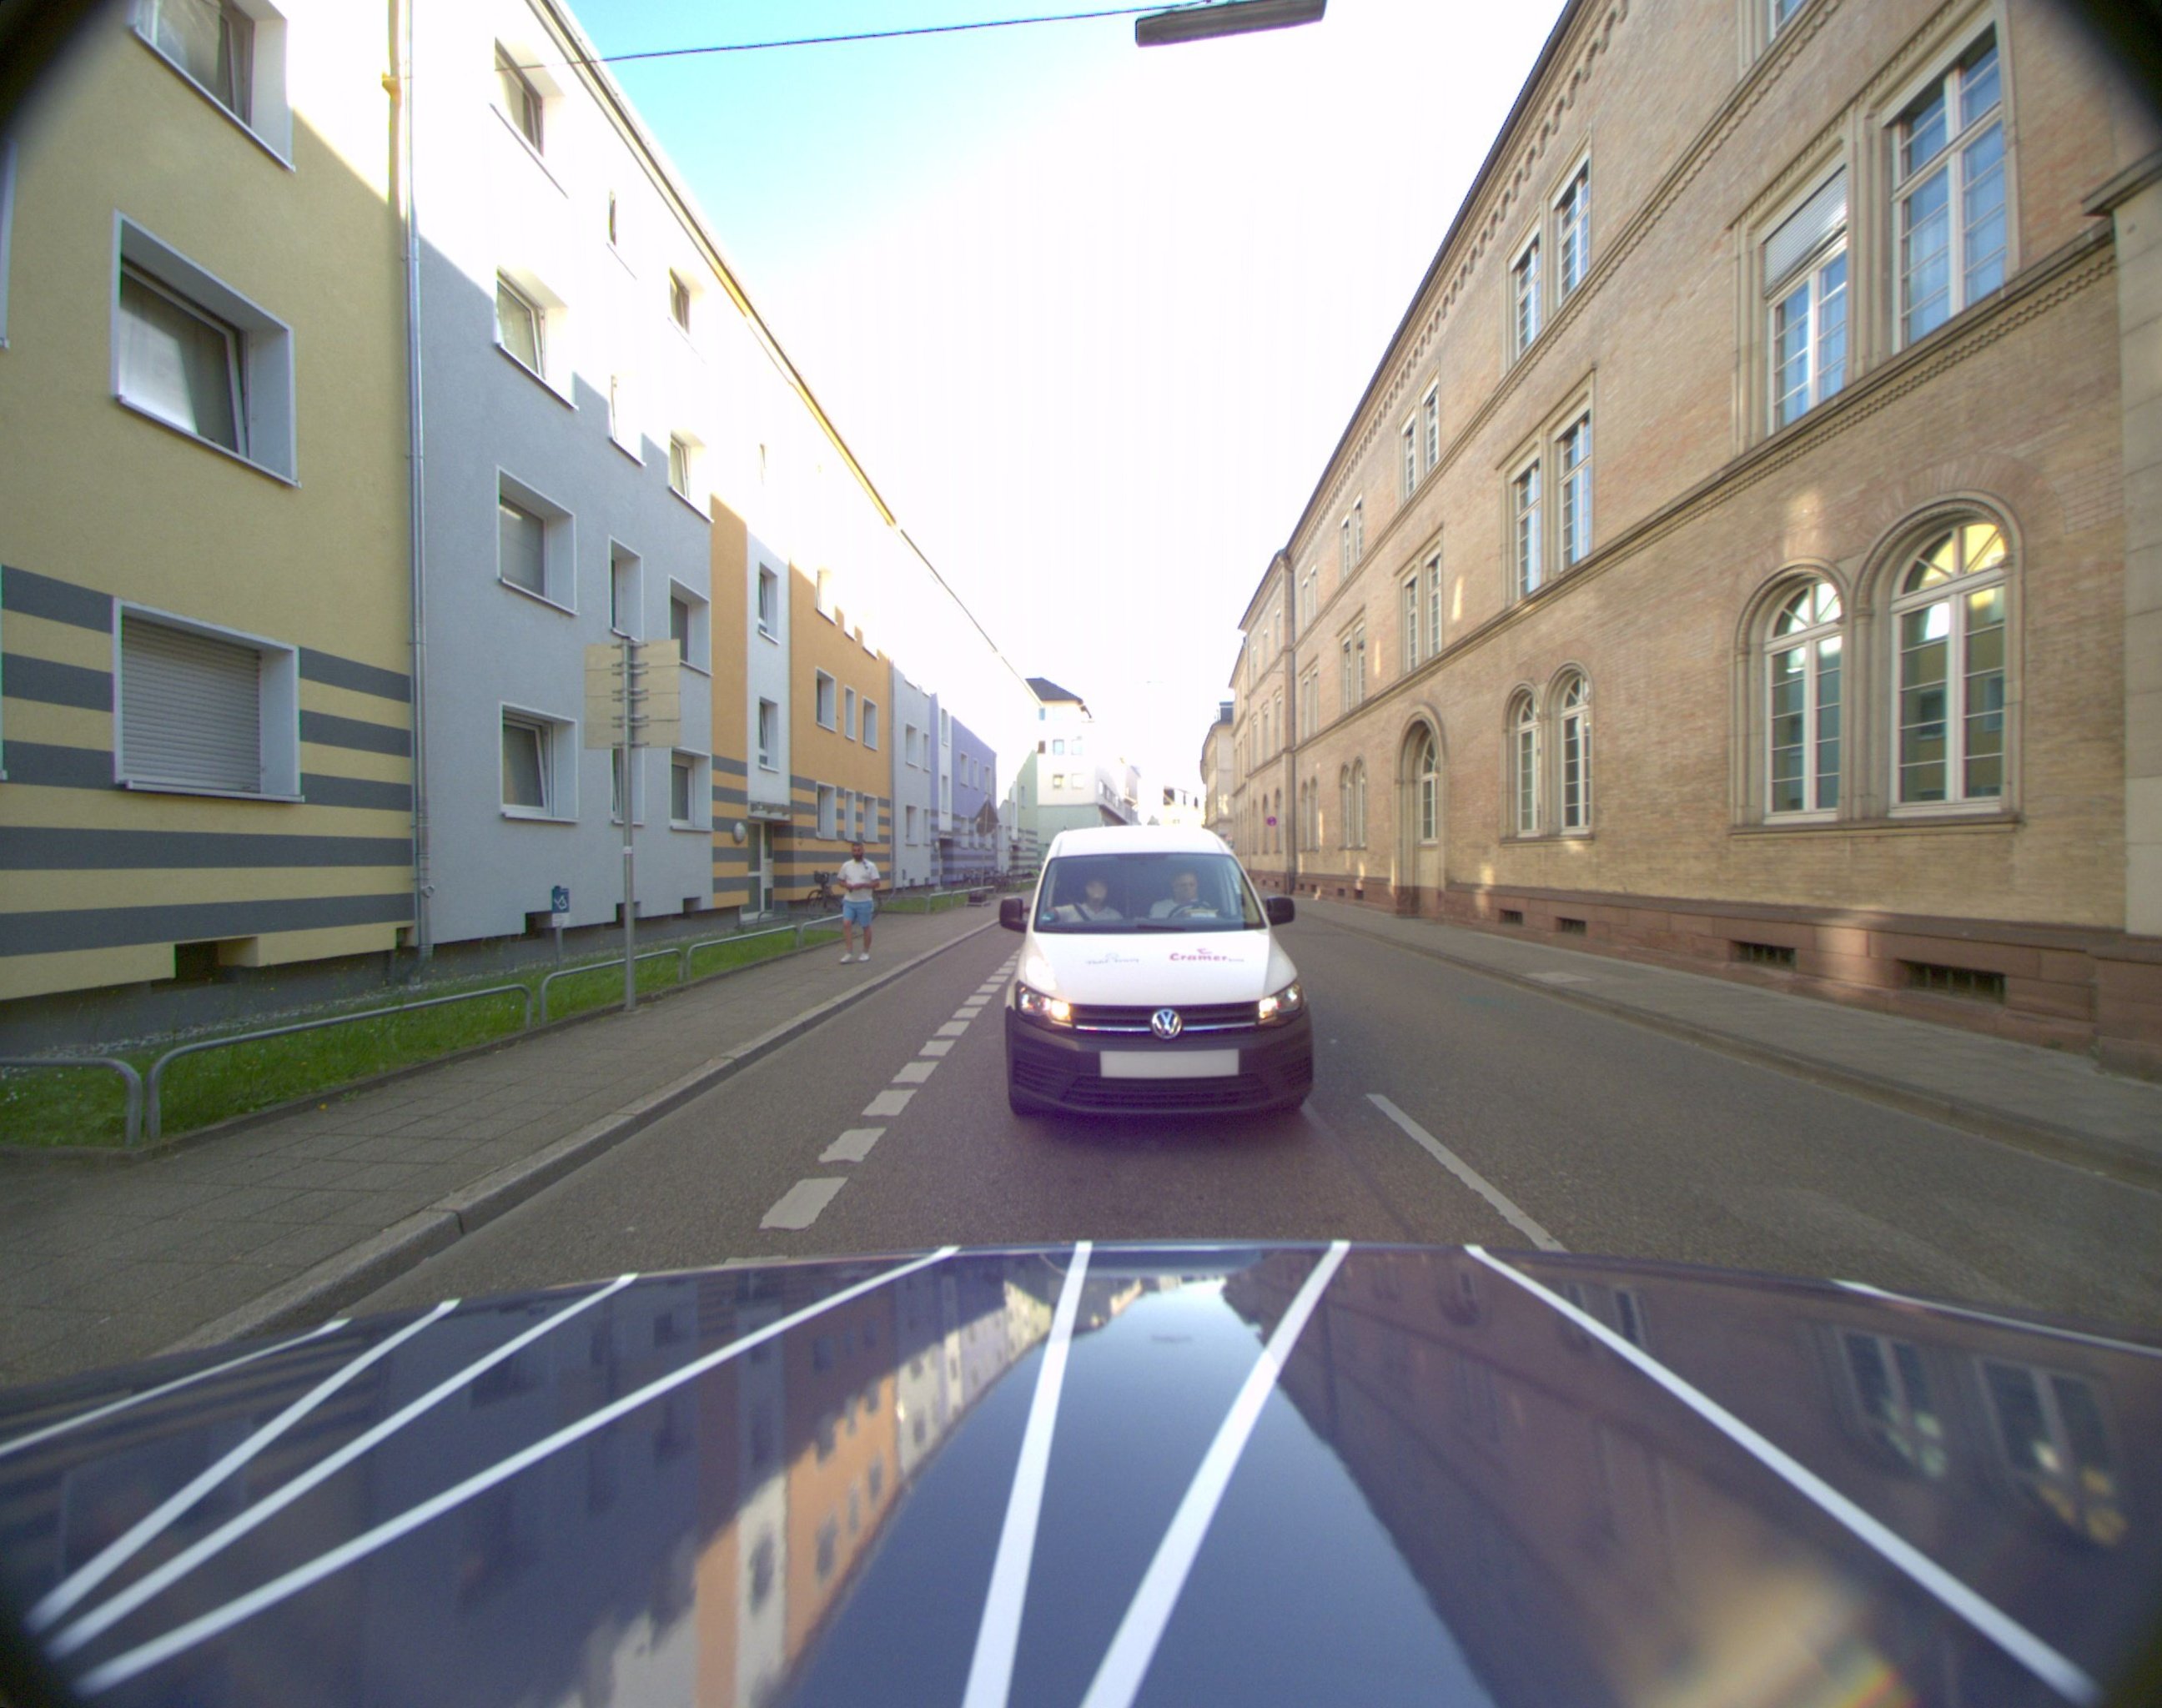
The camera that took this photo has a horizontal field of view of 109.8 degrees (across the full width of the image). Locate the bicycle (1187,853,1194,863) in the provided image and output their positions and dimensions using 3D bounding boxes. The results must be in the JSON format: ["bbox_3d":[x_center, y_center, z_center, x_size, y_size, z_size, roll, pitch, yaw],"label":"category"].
[{"bbox_3d":[11.435,0.389,79.390,0.651,1.001,1.807,2,0,6],"label":"bicycle"}]

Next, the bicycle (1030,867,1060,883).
[{"bbox_3d":[-2.232,1.310,47.620,1.775,0.934,0.584,1,1,7],"label":"bicycle"}]

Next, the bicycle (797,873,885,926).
[{"bbox_3d":[-5.390,1.016,17.113,1.776,1.118,0.583,1,1,-1],"label":"bicycle"}]

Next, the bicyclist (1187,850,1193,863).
[{"bbox_3d":[12.699,0.285,88.531,0.651,1.500,1.112,2,0,8],"label":"bicyclist"}]

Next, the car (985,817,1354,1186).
[{"bbox_3d":[0.477,0.742,6.447,1.819,1.825,5.341,0,0,1],"label":"car"}]

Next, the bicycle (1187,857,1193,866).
[{"bbox_3d":[12.665,0.823,88.516,0.651,1.001,1.877,2,0,9],"label":"bicycle"}]

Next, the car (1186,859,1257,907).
[{"bbox_3d":[4.863,0.947,26.919,1.891,1.467,4.546,2,0,3],"label":"car"}]

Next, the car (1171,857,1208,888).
[{"bbox_3d":[6.045,1.000,42.609,1.689,1.573,4.276,2,0,4],"label":"car"}]

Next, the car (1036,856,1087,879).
[{"bbox_3d":[-1.591,1.137,63.487,3.995,1.681,1.901,-2,1,5],"label":"car"}]

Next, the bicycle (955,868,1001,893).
[{"bbox_3d":[-4.322,1.112,31.870,1.775,0.990,0.584,1,1,7],"label":"bicycle"}]

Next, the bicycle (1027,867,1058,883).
[{"bbox_3d":[-2.312,1.279,46.083,1.775,0.934,0.584,1,1,7],"label":"bicycle"}]

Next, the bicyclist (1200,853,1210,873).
[{"bbox_3d":[8.761,0.644,53.739,0.604,1.434,0.578,0,0,4],"label":"bicyclist"}]

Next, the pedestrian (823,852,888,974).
[{"bbox_3d":[-3.187,0.804,10.793,0.644,1.662,0.834,1,0,3],"label":"pedestrian"}]

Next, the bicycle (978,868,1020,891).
[{"bbox_3d":[-3.655,1.139,33.828,1.775,0.934,0.584,1,1,7],"label":"bicycle"}]

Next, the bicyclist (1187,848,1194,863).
[{"bbox_3d":[11.432,0.164,79.381,0.651,1.558,0.961,2,0,6],"label":"bicyclist"}]

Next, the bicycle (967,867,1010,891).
[{"bbox_3d":[-4.045,1.102,33.212,1.775,0.990,0.584,1,1,7],"label":"bicycle"}]
